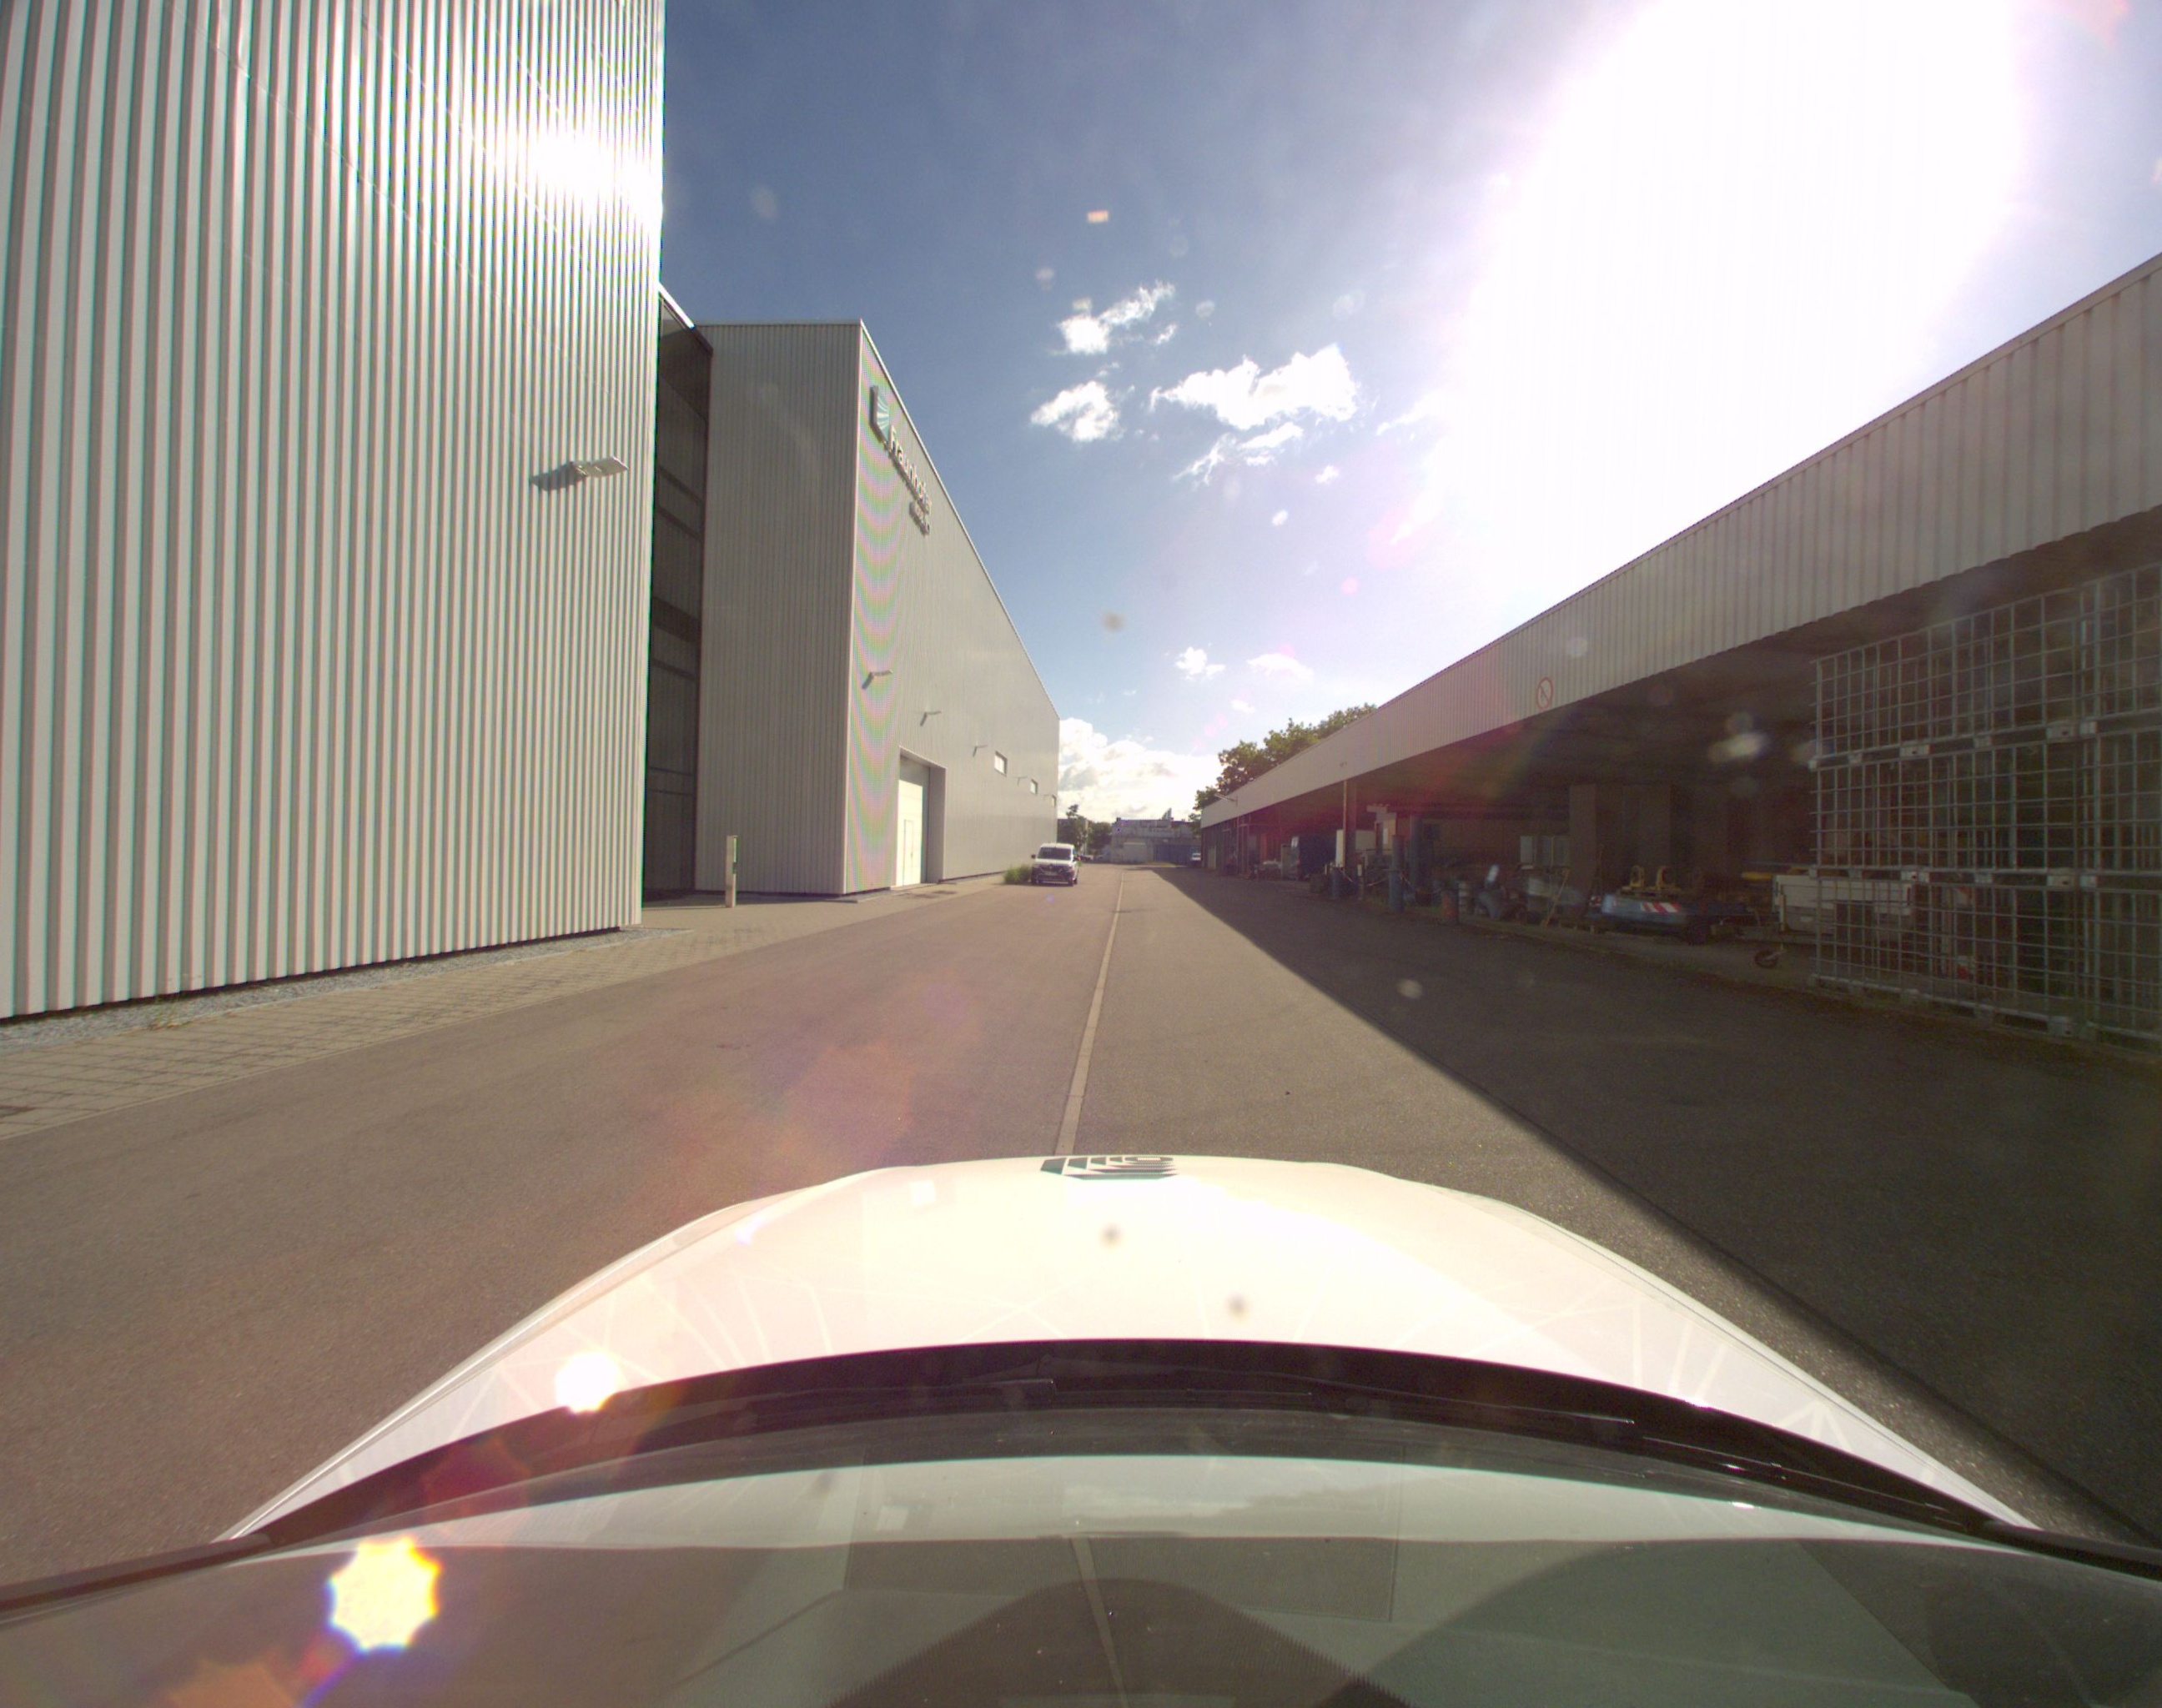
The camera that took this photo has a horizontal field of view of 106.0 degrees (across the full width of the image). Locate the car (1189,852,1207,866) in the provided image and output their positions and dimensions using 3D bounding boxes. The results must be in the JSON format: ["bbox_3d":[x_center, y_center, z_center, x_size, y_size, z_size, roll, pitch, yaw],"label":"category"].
[{"bbox_3d":[15.029,0.634,104.733,1.953,1.564,4.065,3,1,5],"label":"car"}]

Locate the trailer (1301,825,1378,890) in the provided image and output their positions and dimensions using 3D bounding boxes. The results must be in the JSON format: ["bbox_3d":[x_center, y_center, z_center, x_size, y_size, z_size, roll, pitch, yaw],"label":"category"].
[{"bbox_3d":[9.978,0.149,31.569,2.512,2.399,1.728,1,-1,4],"label":"trailer"}]

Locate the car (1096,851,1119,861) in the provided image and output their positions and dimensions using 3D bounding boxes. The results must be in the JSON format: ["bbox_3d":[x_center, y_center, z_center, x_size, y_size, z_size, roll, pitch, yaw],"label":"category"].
[{"bbox_3d":[4.706,0.316,145.579,3.972,1.598,1.849,3,-2,2],"label":"car"}]

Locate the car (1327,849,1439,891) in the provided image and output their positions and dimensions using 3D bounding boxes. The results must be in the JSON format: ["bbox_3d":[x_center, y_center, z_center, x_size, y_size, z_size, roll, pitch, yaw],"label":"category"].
[{"bbox_3d":[12.445,0.684,33.725,4.020,1.525,1.686,3,-2,4],"label":"car"}]

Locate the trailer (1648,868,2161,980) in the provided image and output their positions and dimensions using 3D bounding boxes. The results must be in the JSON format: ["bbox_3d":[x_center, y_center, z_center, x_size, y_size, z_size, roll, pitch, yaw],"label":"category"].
[{"bbox_3d":[10.633,0.799,10.031,5.826,1.133,2.142,1,0,1],"label":"trailer"}]

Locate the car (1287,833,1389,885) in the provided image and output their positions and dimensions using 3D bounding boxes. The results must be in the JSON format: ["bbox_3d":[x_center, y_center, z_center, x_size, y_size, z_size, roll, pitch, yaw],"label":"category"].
[{"bbox_3d":[12.639,0.284,40.250,4.413,2.310,1.917,3,-2,4],"label":"car"}]

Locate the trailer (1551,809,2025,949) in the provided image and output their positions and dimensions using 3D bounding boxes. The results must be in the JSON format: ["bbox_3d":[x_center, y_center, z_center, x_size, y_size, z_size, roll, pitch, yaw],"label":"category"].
[{"bbox_3d":[11.125,0.352,13.224,5.740,2.032,2.080,1,0,4],"label":"trailer"}]

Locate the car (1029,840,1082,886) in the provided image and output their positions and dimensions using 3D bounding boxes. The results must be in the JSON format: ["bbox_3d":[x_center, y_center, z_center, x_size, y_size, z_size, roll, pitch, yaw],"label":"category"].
[{"bbox_3d":[-1.055,0.348,35.539,1.811,1.787,4.409,3,1,4],"label":"car"}]

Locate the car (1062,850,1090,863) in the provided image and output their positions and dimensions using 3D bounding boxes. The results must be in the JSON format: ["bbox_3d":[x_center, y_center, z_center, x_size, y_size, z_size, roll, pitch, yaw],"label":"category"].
[{"bbox_3d":[-0.682,0.349,117.892,3.972,1.598,1.742,3,-2,2],"label":"car"}]
